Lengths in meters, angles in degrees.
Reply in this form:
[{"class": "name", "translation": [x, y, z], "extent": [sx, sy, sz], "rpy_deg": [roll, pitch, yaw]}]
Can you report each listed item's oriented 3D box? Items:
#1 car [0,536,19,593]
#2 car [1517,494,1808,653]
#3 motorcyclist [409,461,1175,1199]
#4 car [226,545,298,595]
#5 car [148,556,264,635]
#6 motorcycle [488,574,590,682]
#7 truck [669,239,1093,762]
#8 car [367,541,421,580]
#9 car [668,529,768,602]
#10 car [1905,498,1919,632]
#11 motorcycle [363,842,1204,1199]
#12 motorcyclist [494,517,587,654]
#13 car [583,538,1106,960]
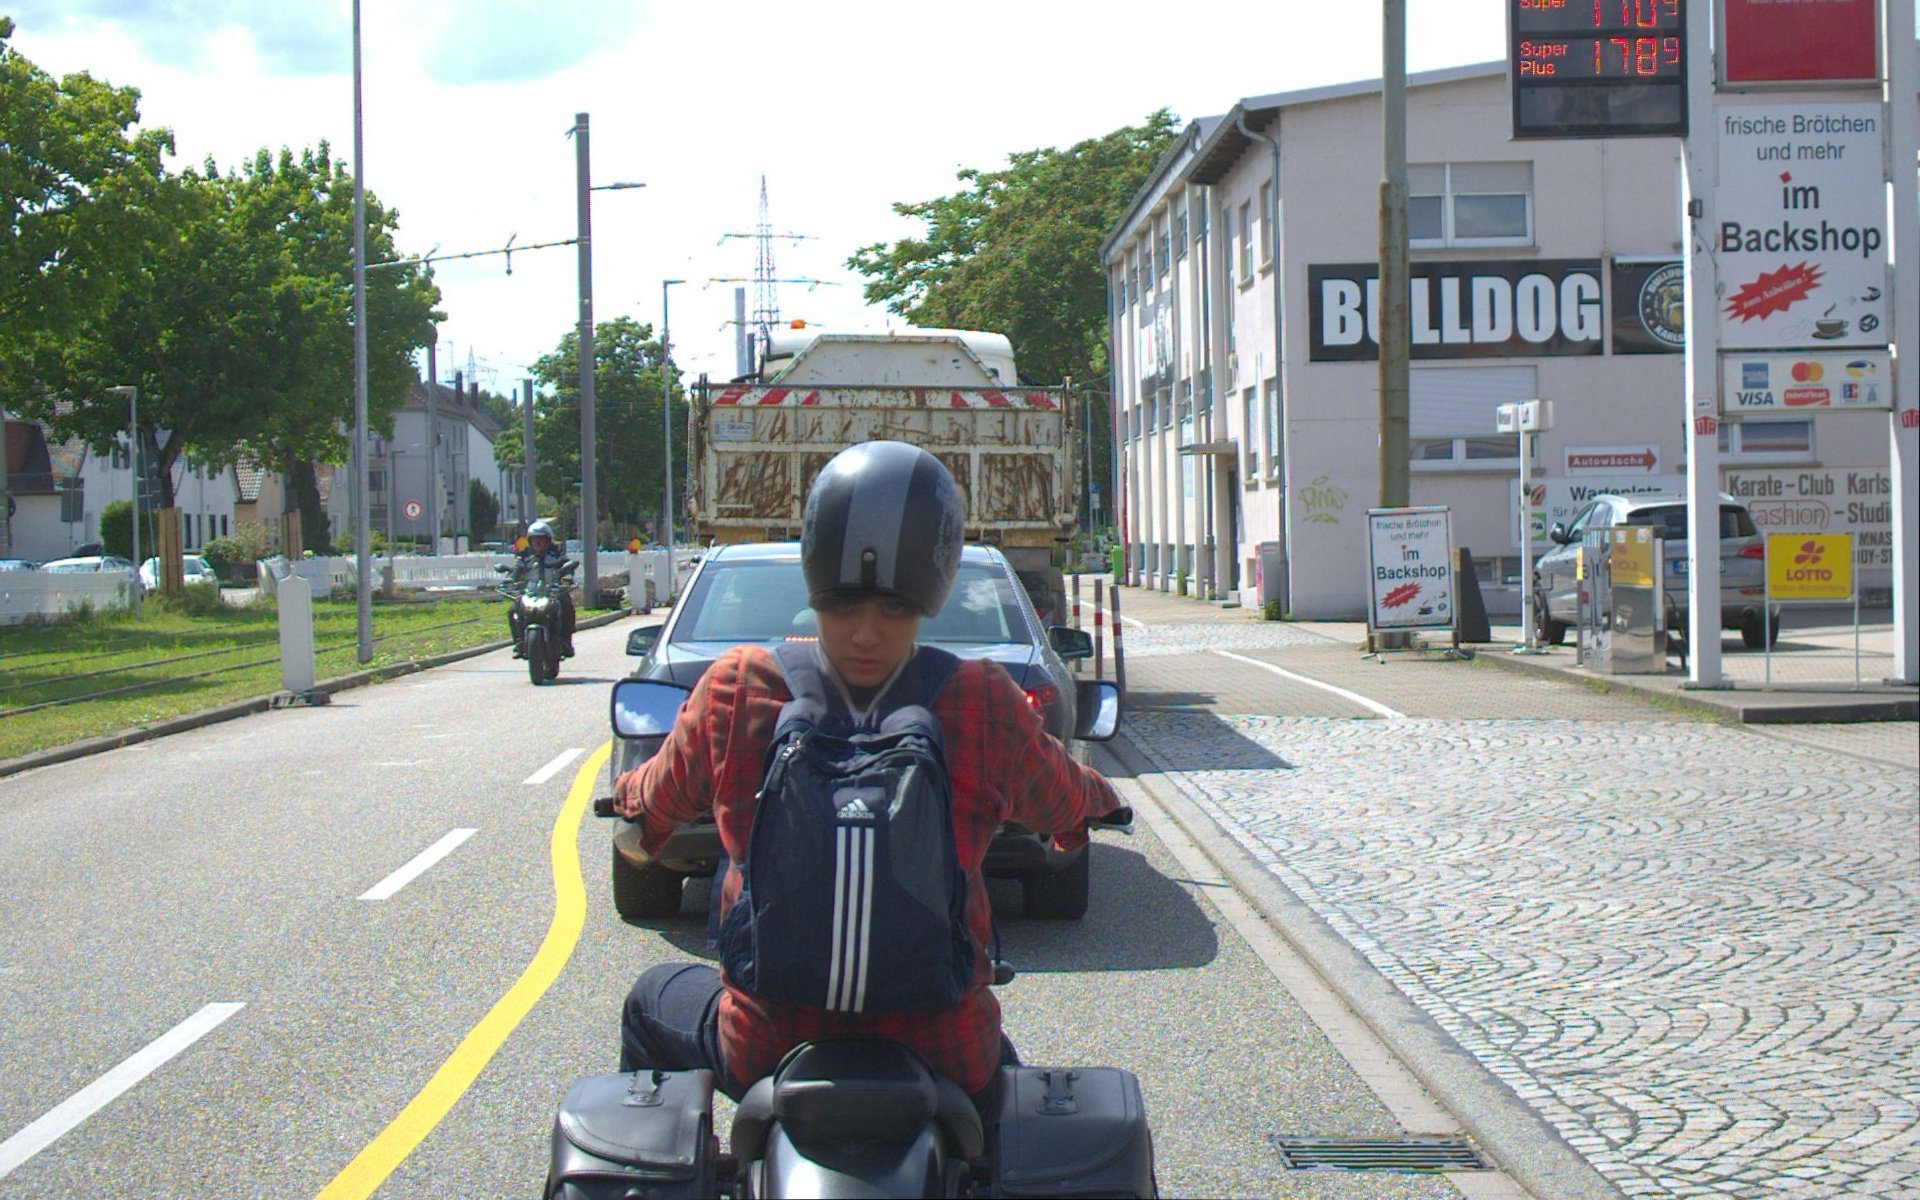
[{"class": "car", "translation": [-30.040, -1.067, 104.417], "extent": [1.776, 1.717, 4.128], "rpy_deg": [-1, 1, 0]}, {"class": "car", "translation": [7.380, -0.307, 36.531], "extent": [1.667, 1.557, 4.245], "rpy_deg": [-1, 1, -8]}, {"class": "motorcyclist", "translation": [-0.217, 0.615, 5.038], "extent": [0.979, 1.597, 1.088], "rpy_deg": [-1, 1, -1]}, {"class": "car", "translation": [-25.413, -1.106, 125.253], "extent": [1.776, 1.717, 4.128], "rpy_deg": [-1, 1, 0]}, {"class": "car", "translation": [-17.494, -0.133, 79.917], "extent": [1.776, 1.717, 4.128], "rpy_deg": [-1, 1, 0]}, {"class": "motorcycle", "translation": [-4.293, 0.270, 35.184], "extent": [0.868, 1.017, 2.245], "rpy_deg": [-1, 1, -3]}, {"class": "truck", "translation": [-0.549, -0.728, 26.005], "extent": [2.638, 3.285, 8.057], "rpy_deg": [-1, 1, -1]}, {"class": "car", "translation": [-26.429, -1.862, 160.672], "extent": [1.776, 1.717, 4.250], "rpy_deg": [-1, 1, 0]}, {"class": "car", "translation": [-5.127, -0.763, 73.393], "extent": [1.823, 1.447, 4.324], "rpy_deg": [-2, 1, -1]}, {"class": "car", "translation": [11.735, -0.382, 37.100], "extent": [1.806, 1.498, 3.834], "rpy_deg": [-1, 1, -3]}, {"class": "motorcycle", "translation": [-0.213, 0.957, 5.349], "extent": [0.979, 0.894, 2.653], "rpy_deg": [-1, 1, -1]}, {"class": "motorcyclist", "translation": [-4.304, -0.157, 35.301], "extent": [0.868, 1.373, 0.800], "rpy_deg": [-1, 1, -3]}, {"class": "car", "translation": [-0.429, 0.491, 14.120], "extent": [1.823, 1.447, 4.000], "rpy_deg": [1, 1, -1]}]
